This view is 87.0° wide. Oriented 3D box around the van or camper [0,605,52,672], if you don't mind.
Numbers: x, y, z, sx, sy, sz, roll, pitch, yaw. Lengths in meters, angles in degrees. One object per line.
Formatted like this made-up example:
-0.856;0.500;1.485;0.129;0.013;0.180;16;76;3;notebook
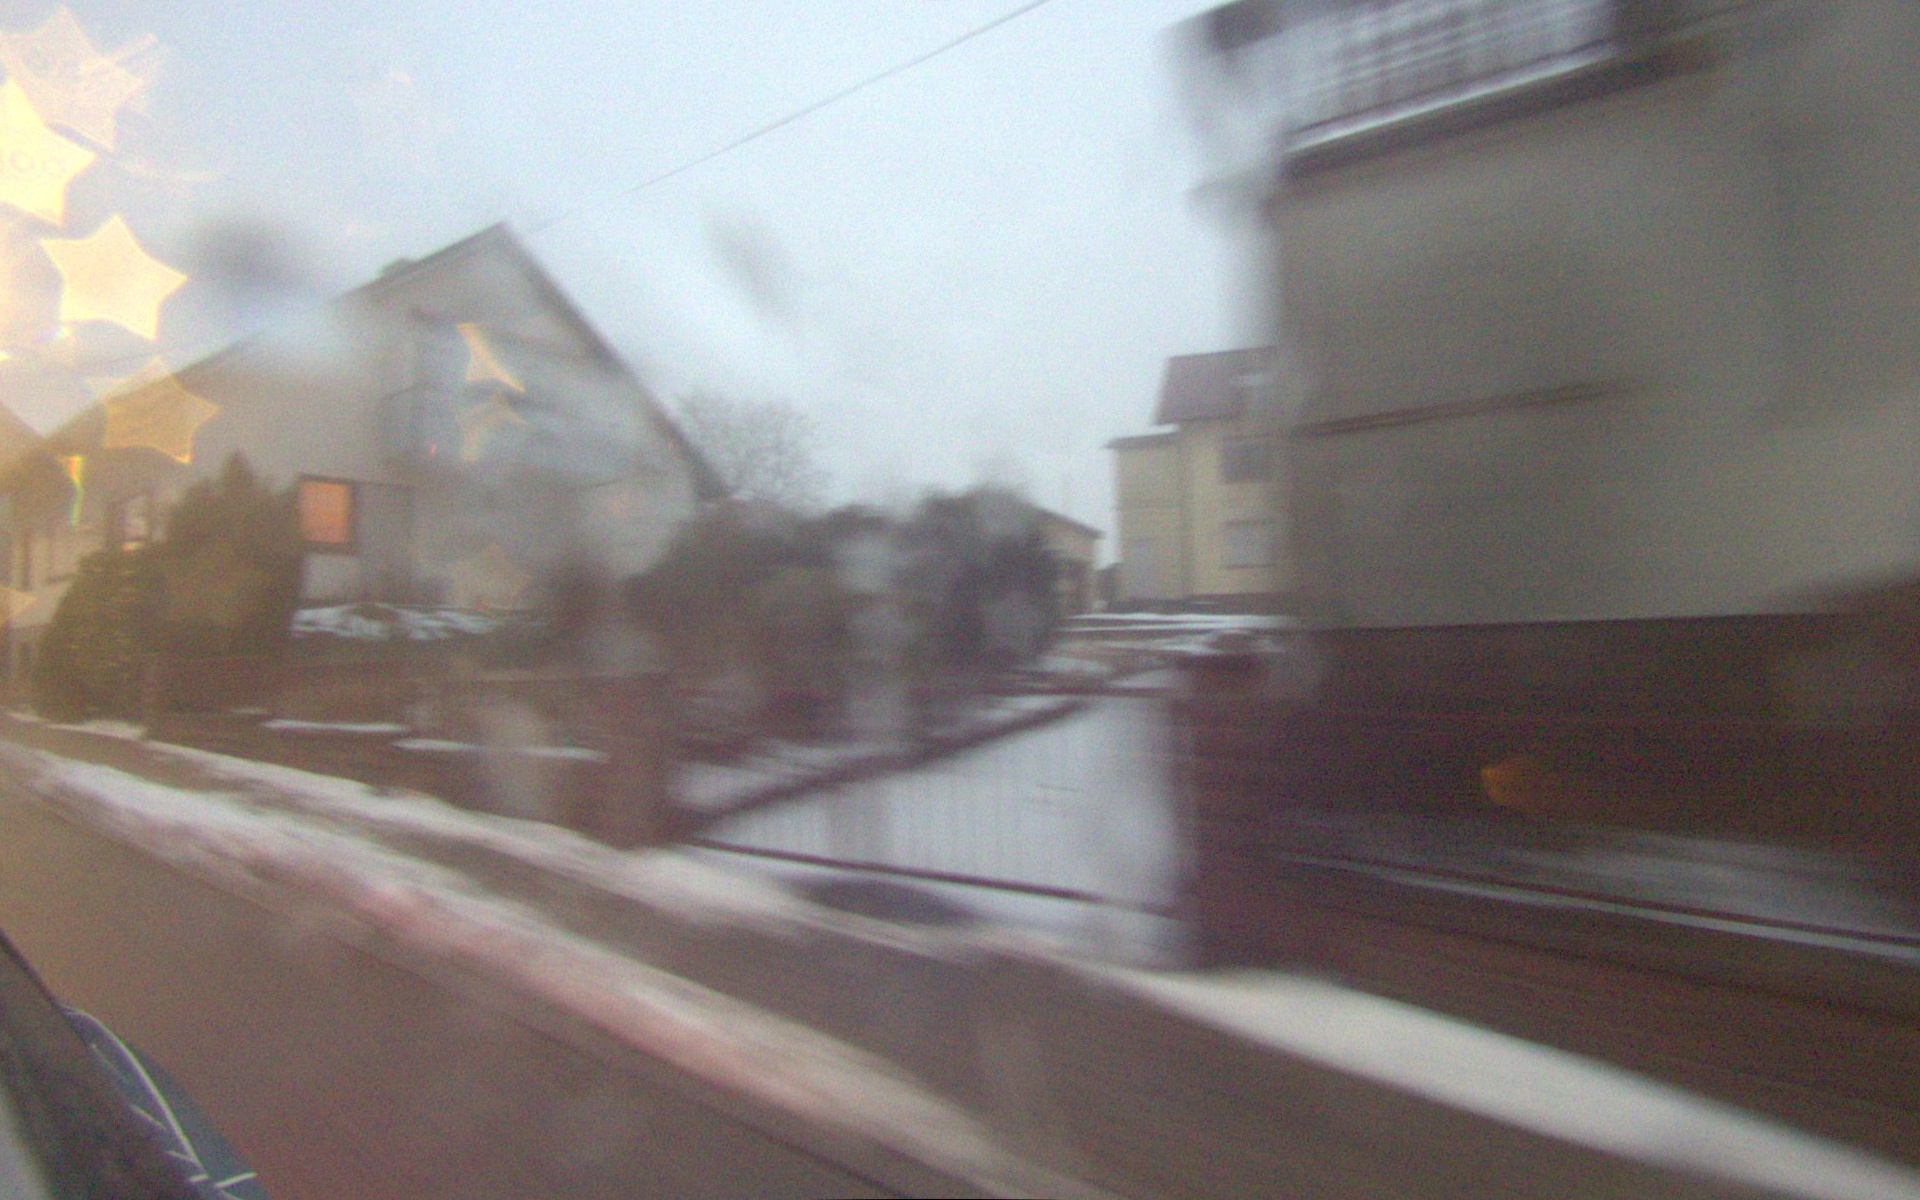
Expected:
-36.541;1.405;36.641;2.121;2.467;5.290;-1;-2;9;van or camper

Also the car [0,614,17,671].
-30.470;1.346;29.043;1.887;1.679;4.747;-2;0;37;car
